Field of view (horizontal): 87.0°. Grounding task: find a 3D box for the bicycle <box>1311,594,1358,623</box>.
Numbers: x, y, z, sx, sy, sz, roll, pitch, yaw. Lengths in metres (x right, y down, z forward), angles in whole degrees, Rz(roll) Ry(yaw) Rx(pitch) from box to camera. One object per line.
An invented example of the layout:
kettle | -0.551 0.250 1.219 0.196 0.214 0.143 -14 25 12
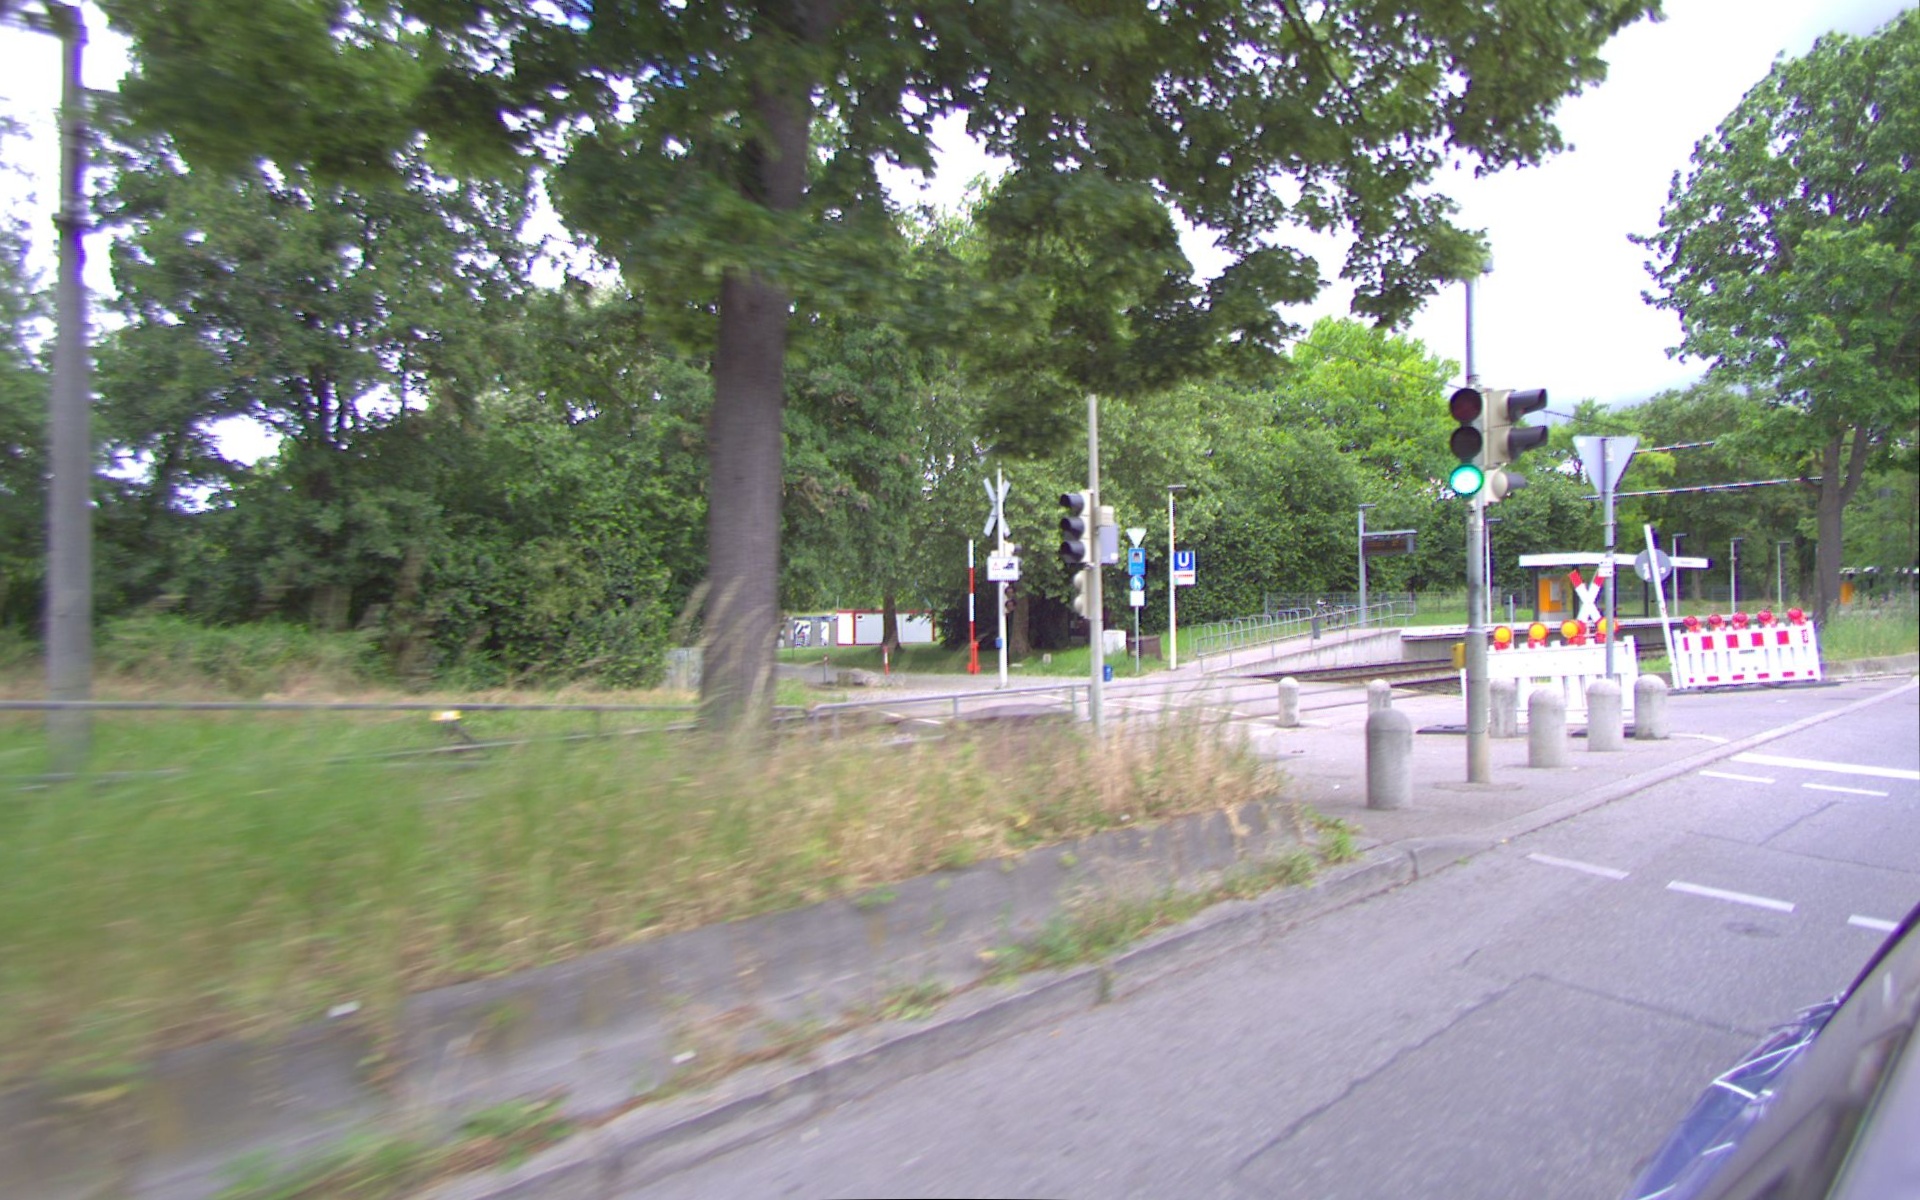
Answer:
bicycle | 13.208 0.319 35.736 0.442 0.986 1.511 0 -2 -38
